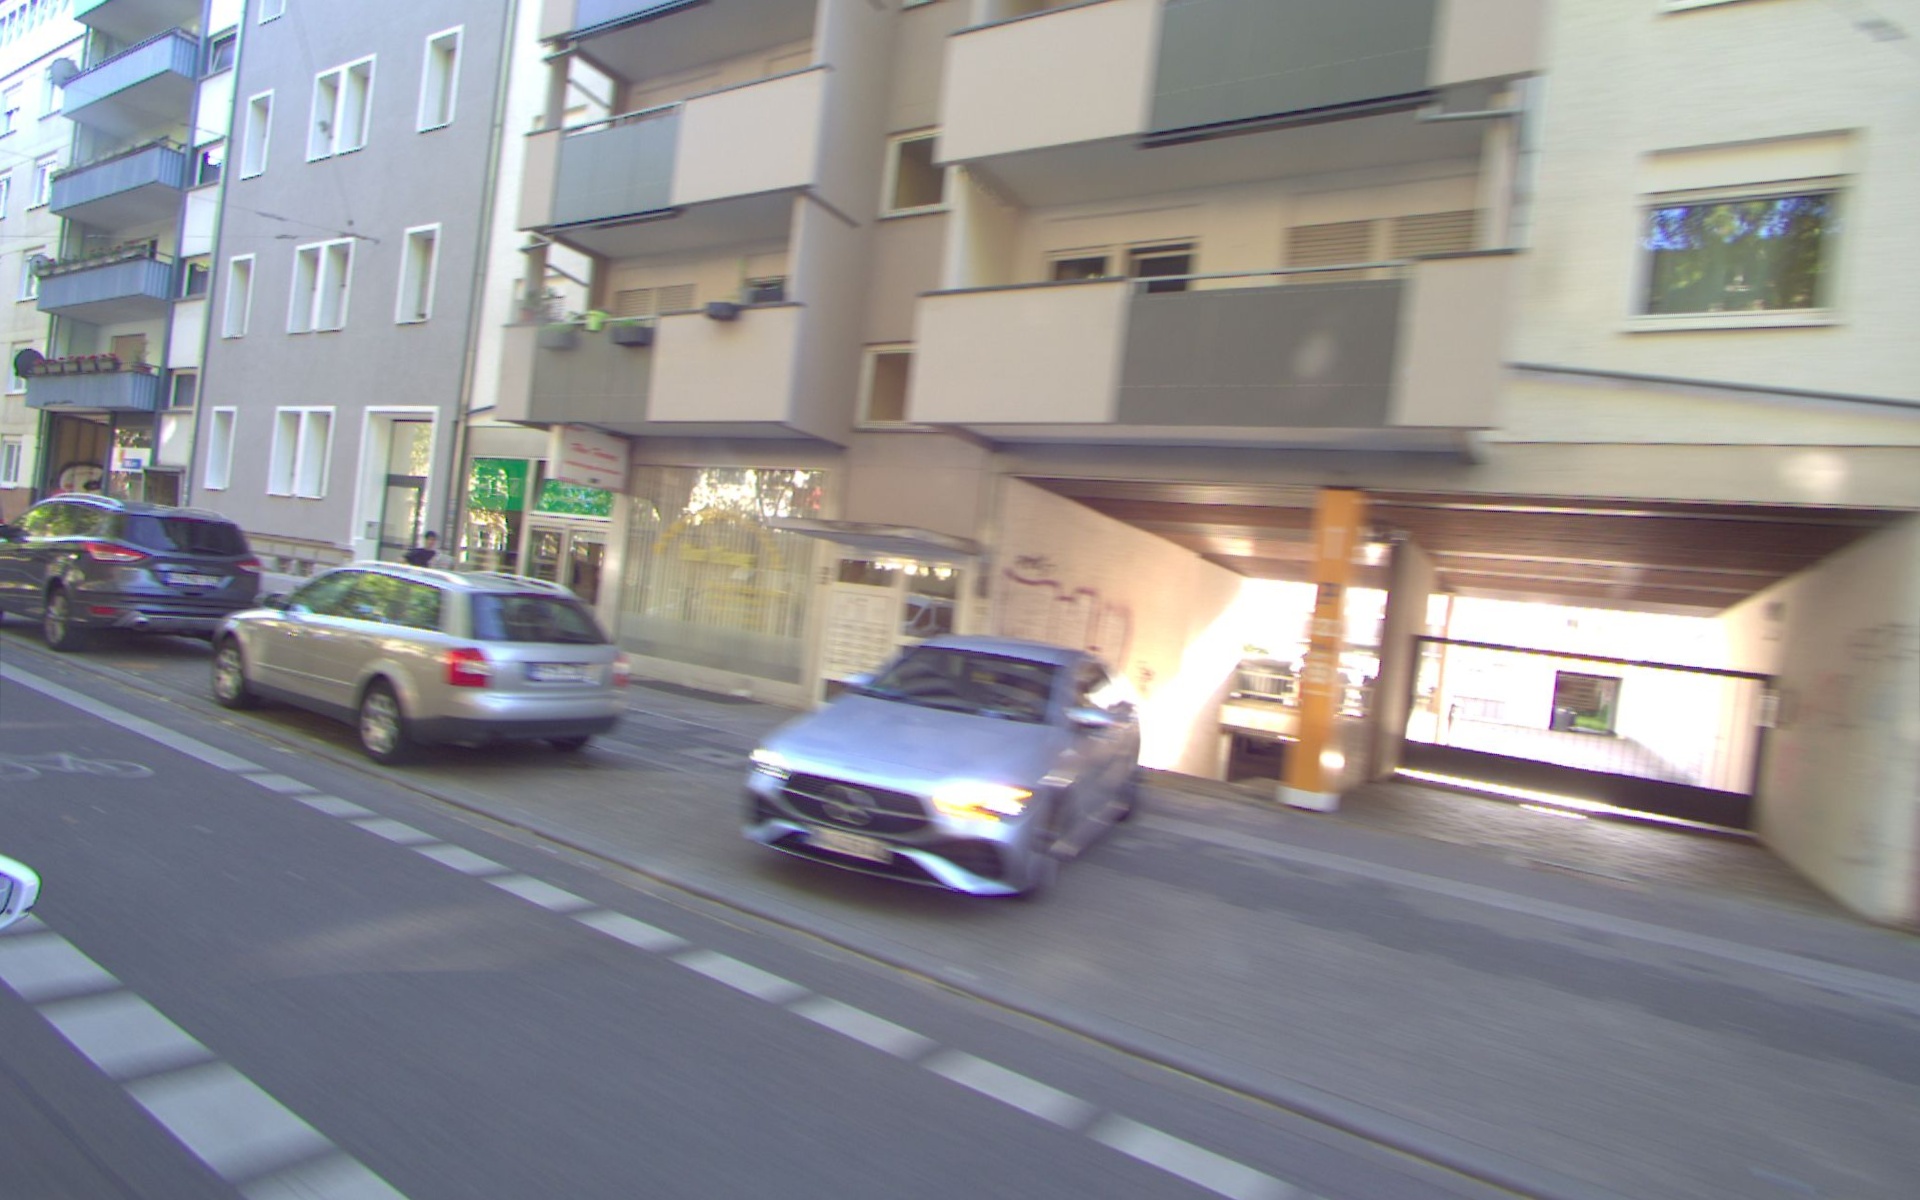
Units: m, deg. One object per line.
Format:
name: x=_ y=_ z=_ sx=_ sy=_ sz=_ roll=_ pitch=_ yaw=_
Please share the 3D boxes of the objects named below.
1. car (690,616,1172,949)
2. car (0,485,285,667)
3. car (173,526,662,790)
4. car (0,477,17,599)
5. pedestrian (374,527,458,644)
car: x=0.220 y=1.002 z=7.462 sx=1.830 sy=1.455 sz=4.627 roll=7 pitch=0 yaw=21
car: x=-10.225 y=-0.343 z=12.101 sx=4.211 sy=1.725 sz=1.769 roll=7 pitch=-1 yaw=31
car: x=-4.815 y=0.372 z=8.699 sx=4.440 sy=1.544 sz=1.726 roll=6 pitch=-1 yaw=34
car: x=-17.555 y=-1.264 z=16.507 sx=4.845 sy=1.913 sz=1.860 roll=6 pitch=-1 yaw=34
pedestrian: x=-8.661 y=-0.220 z=16.028 sx=0.708 sy=1.741 sz=0.757 roll=7 pitch=0 yaw=30
